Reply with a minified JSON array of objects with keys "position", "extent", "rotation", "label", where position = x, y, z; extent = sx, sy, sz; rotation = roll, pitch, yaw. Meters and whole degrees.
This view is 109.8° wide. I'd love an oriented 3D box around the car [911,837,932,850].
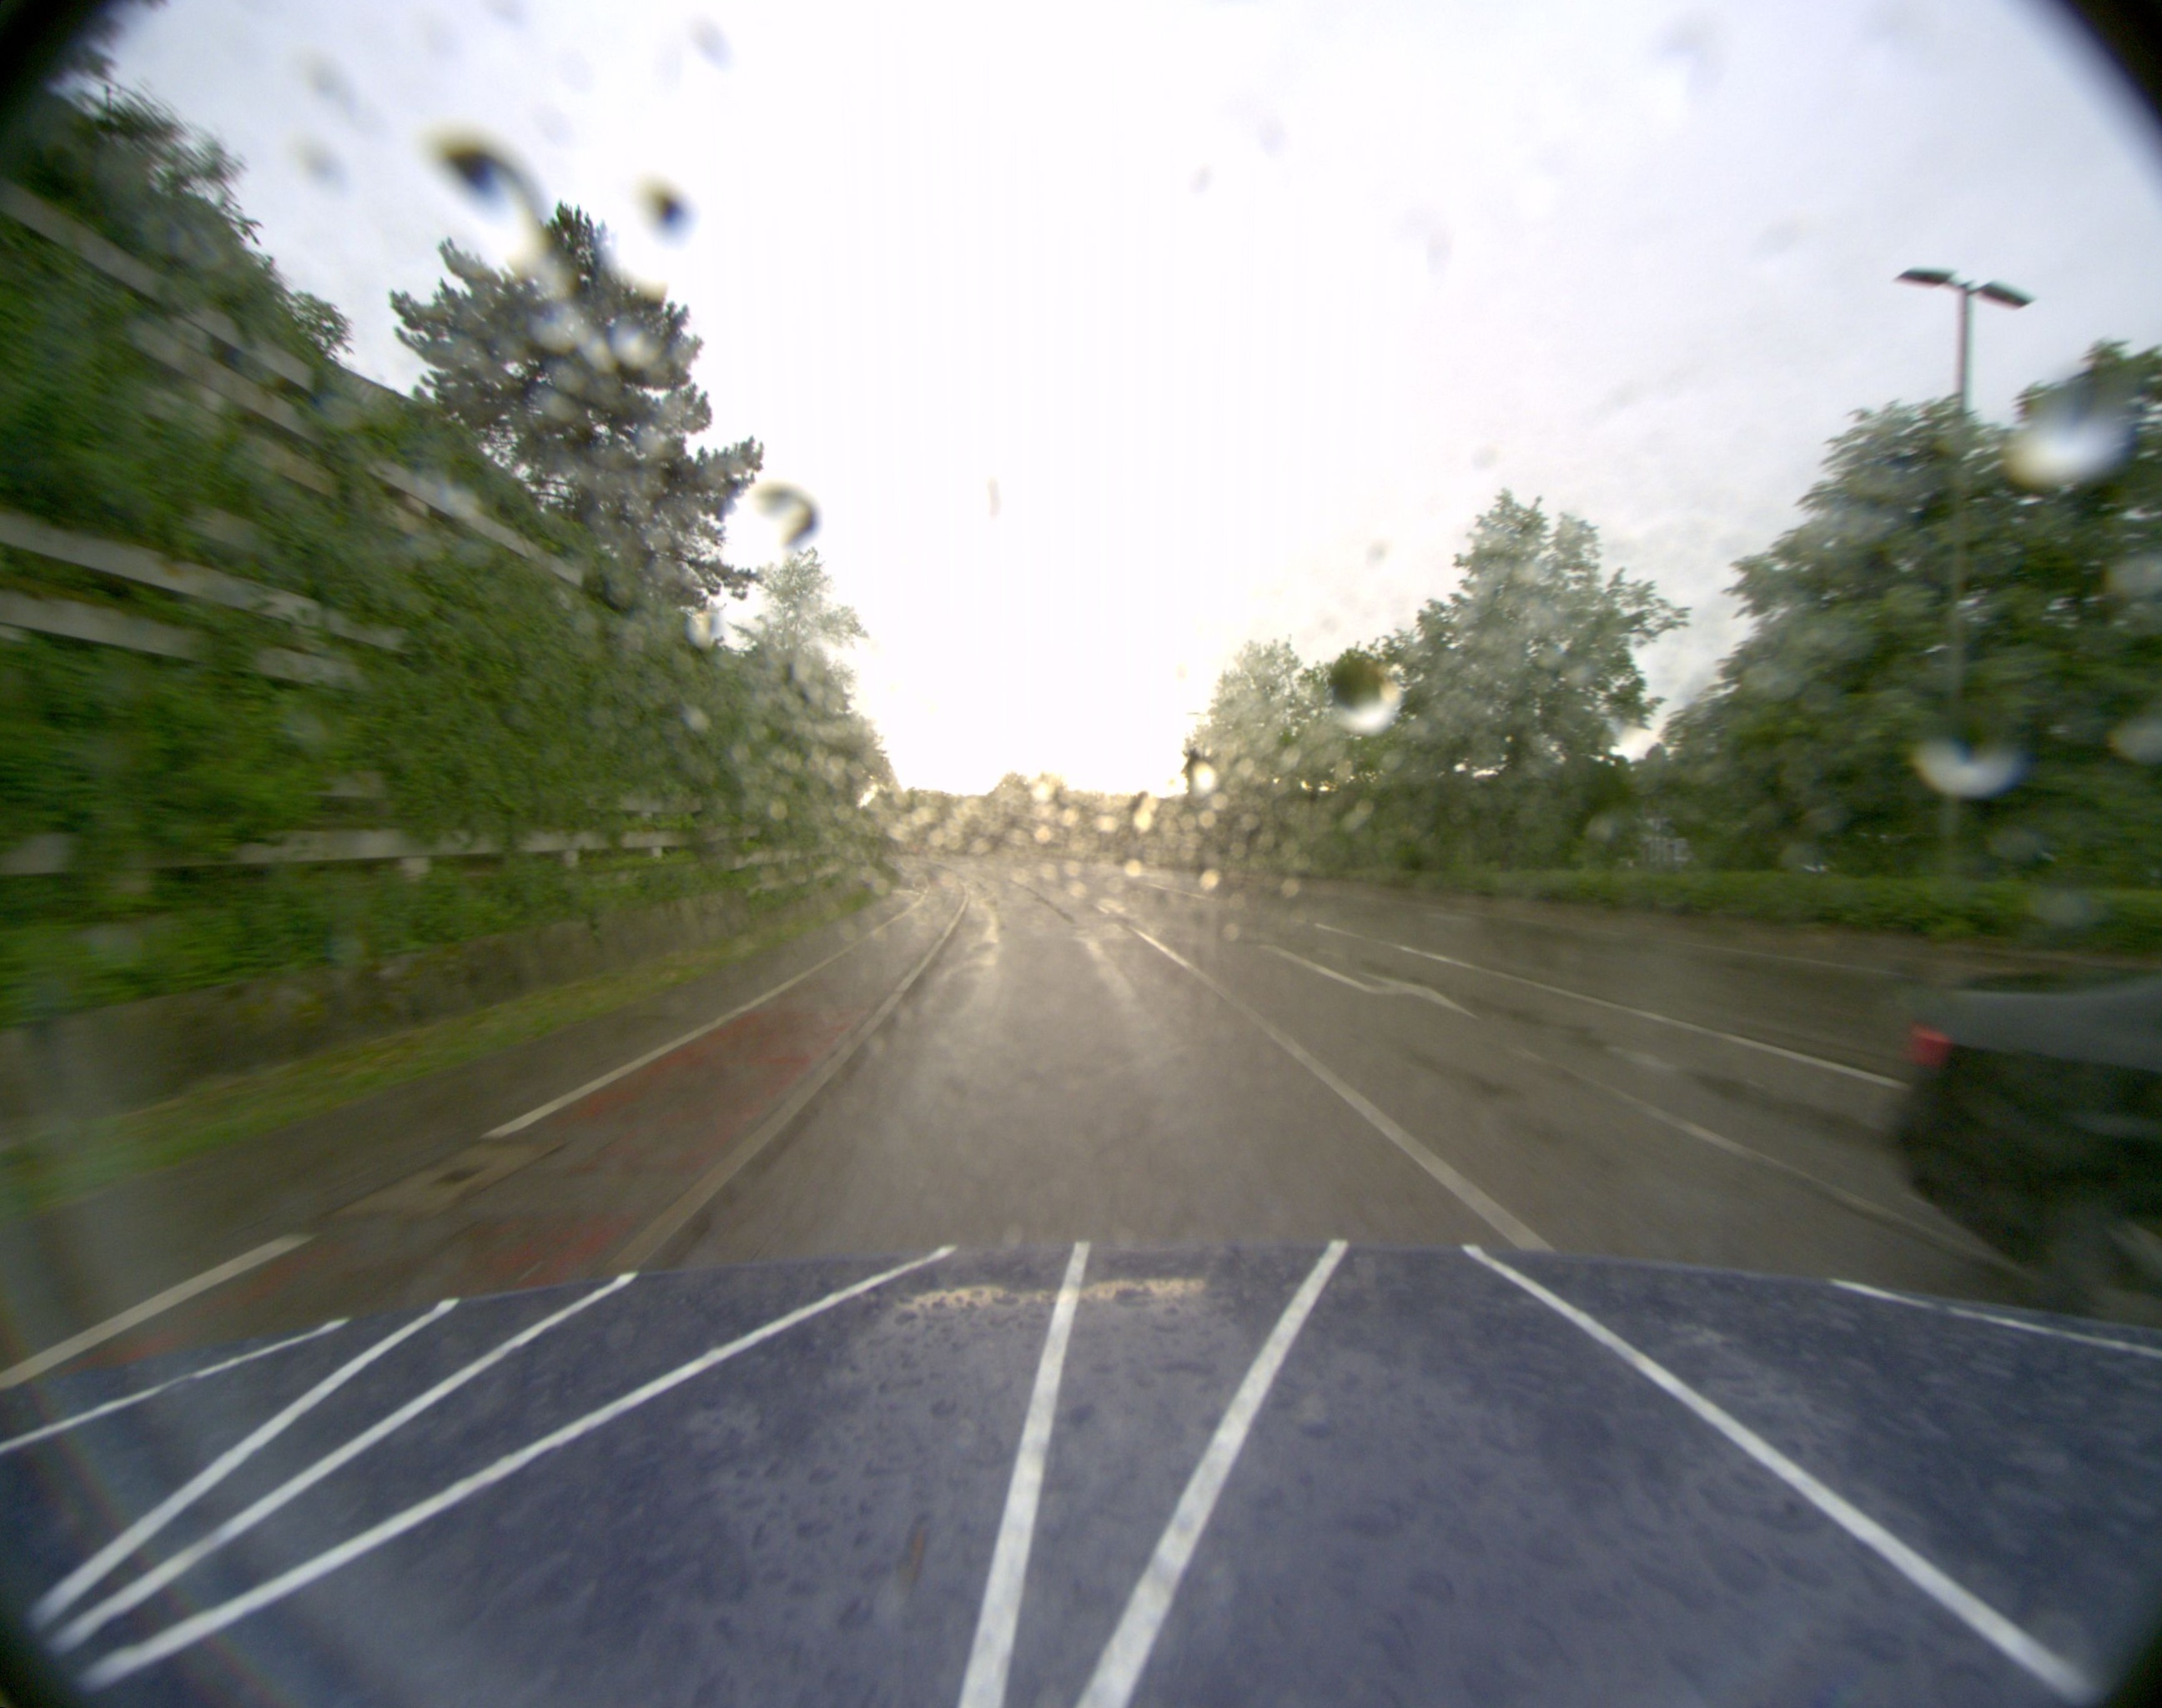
[{"position":[-21.150,-1.407,100.667],"extent":[1.762,1.526,3.992],"rotation":[-2,0,-26],"label":"car"}]
